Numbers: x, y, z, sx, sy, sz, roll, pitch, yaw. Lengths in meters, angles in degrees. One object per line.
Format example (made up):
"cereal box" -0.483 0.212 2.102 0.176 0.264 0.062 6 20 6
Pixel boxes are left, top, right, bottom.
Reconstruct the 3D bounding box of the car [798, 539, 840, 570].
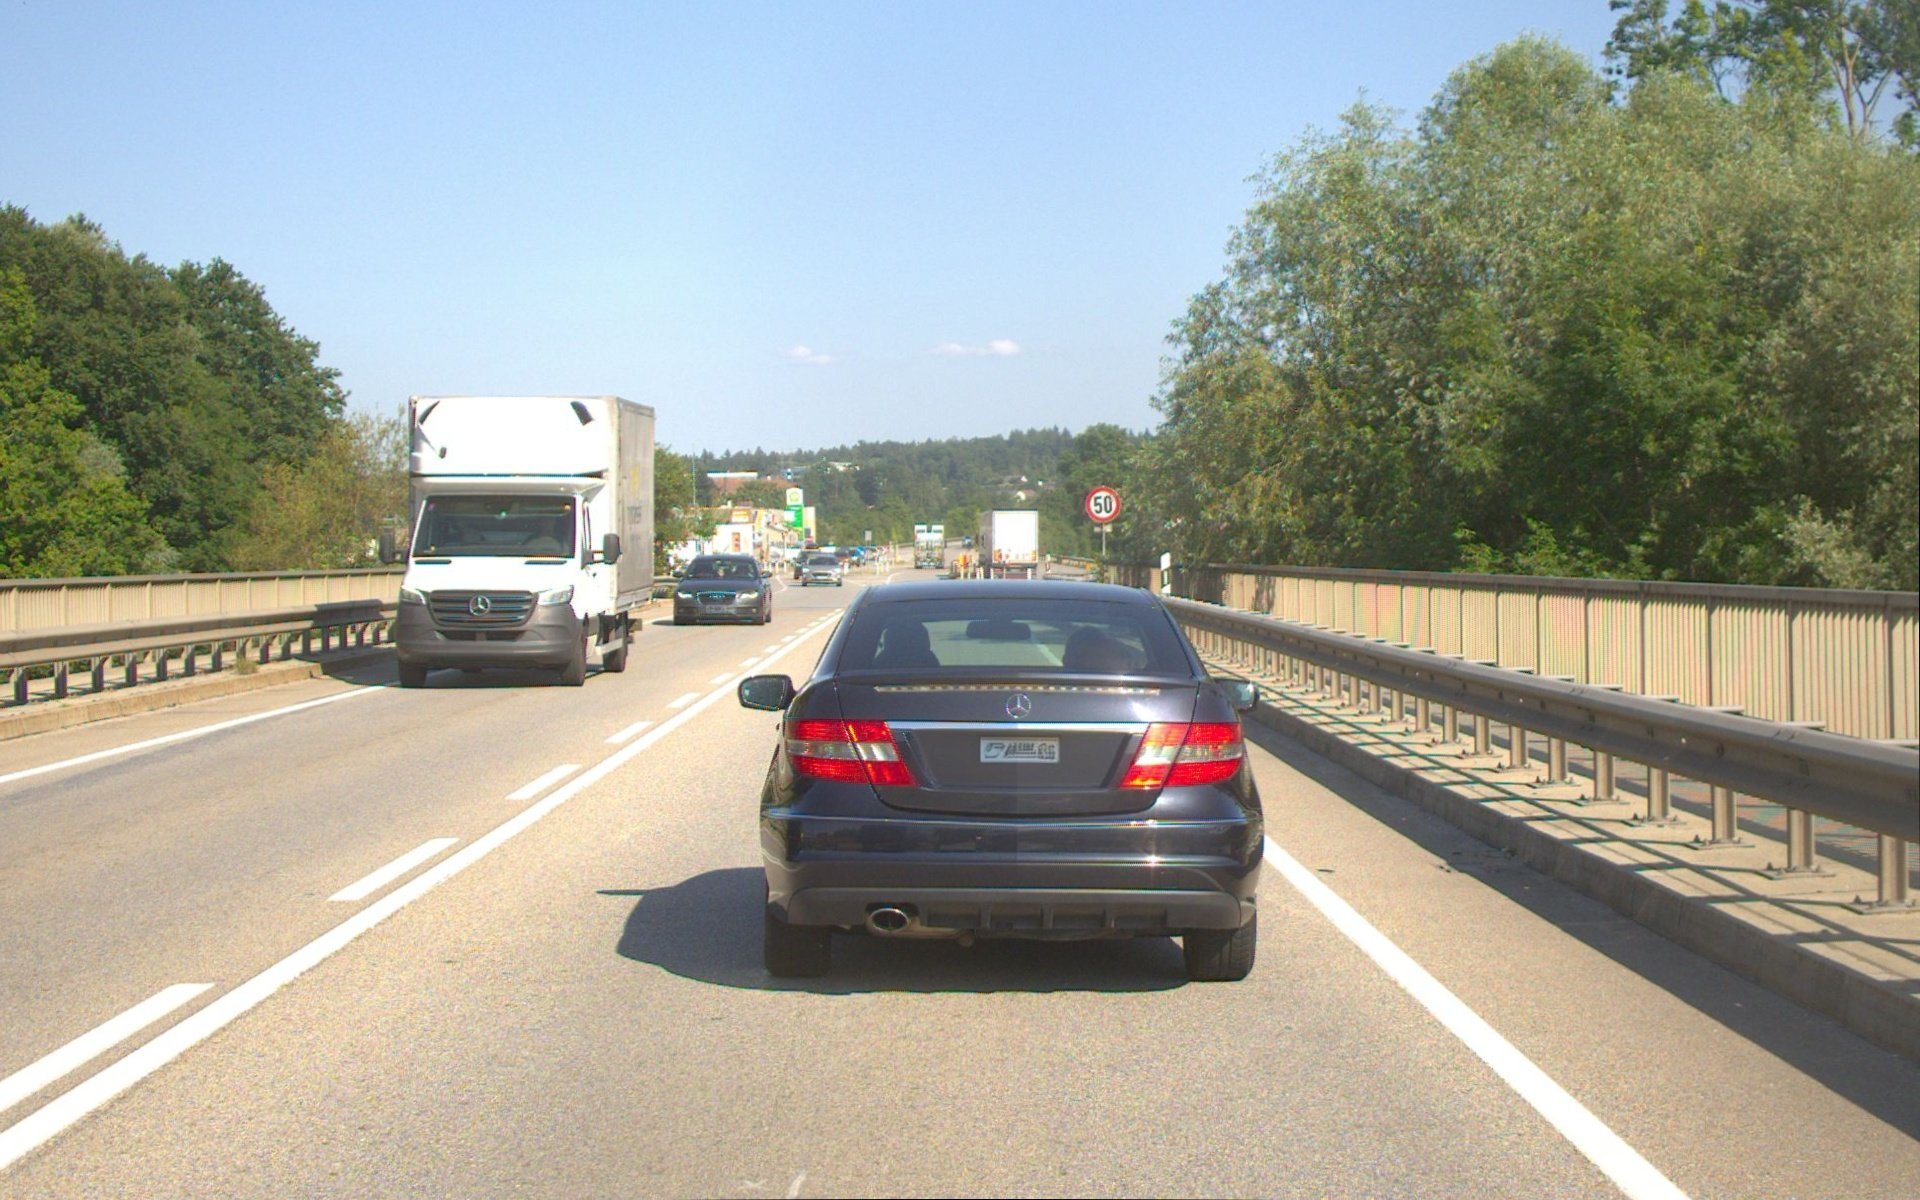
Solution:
"car" -6.350 -2.054 154.610 1.701 1.351 3.736 0 1 0

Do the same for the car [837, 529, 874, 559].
"car" -7.117 -3.819 234.624 1.994 2.007 3.999 0 1 7

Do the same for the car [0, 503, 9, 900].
"car" -4.821 0.458 12.013 1.841 1.636 4.577 0 1 -2

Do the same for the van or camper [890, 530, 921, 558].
"van or camper" -3.895 -4.042 248.015 1.994 2.007 4.000 0 1 2

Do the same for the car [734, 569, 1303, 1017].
"car" 0.212 0.593 12.879 1.793 1.371 4.000 0 1 1

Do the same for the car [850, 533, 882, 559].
"car" -6.025 -3.496 221.282 1.804 1.601 3.916 1 1 1

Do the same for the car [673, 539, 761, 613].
"car" -4.843 -0.503 68.853 1.659 1.431 4.189 0 1 -3

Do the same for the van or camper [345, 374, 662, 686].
"van or camper" -5.121 -0.809 39.881 2.635 3.244 7.750 0 1 0
